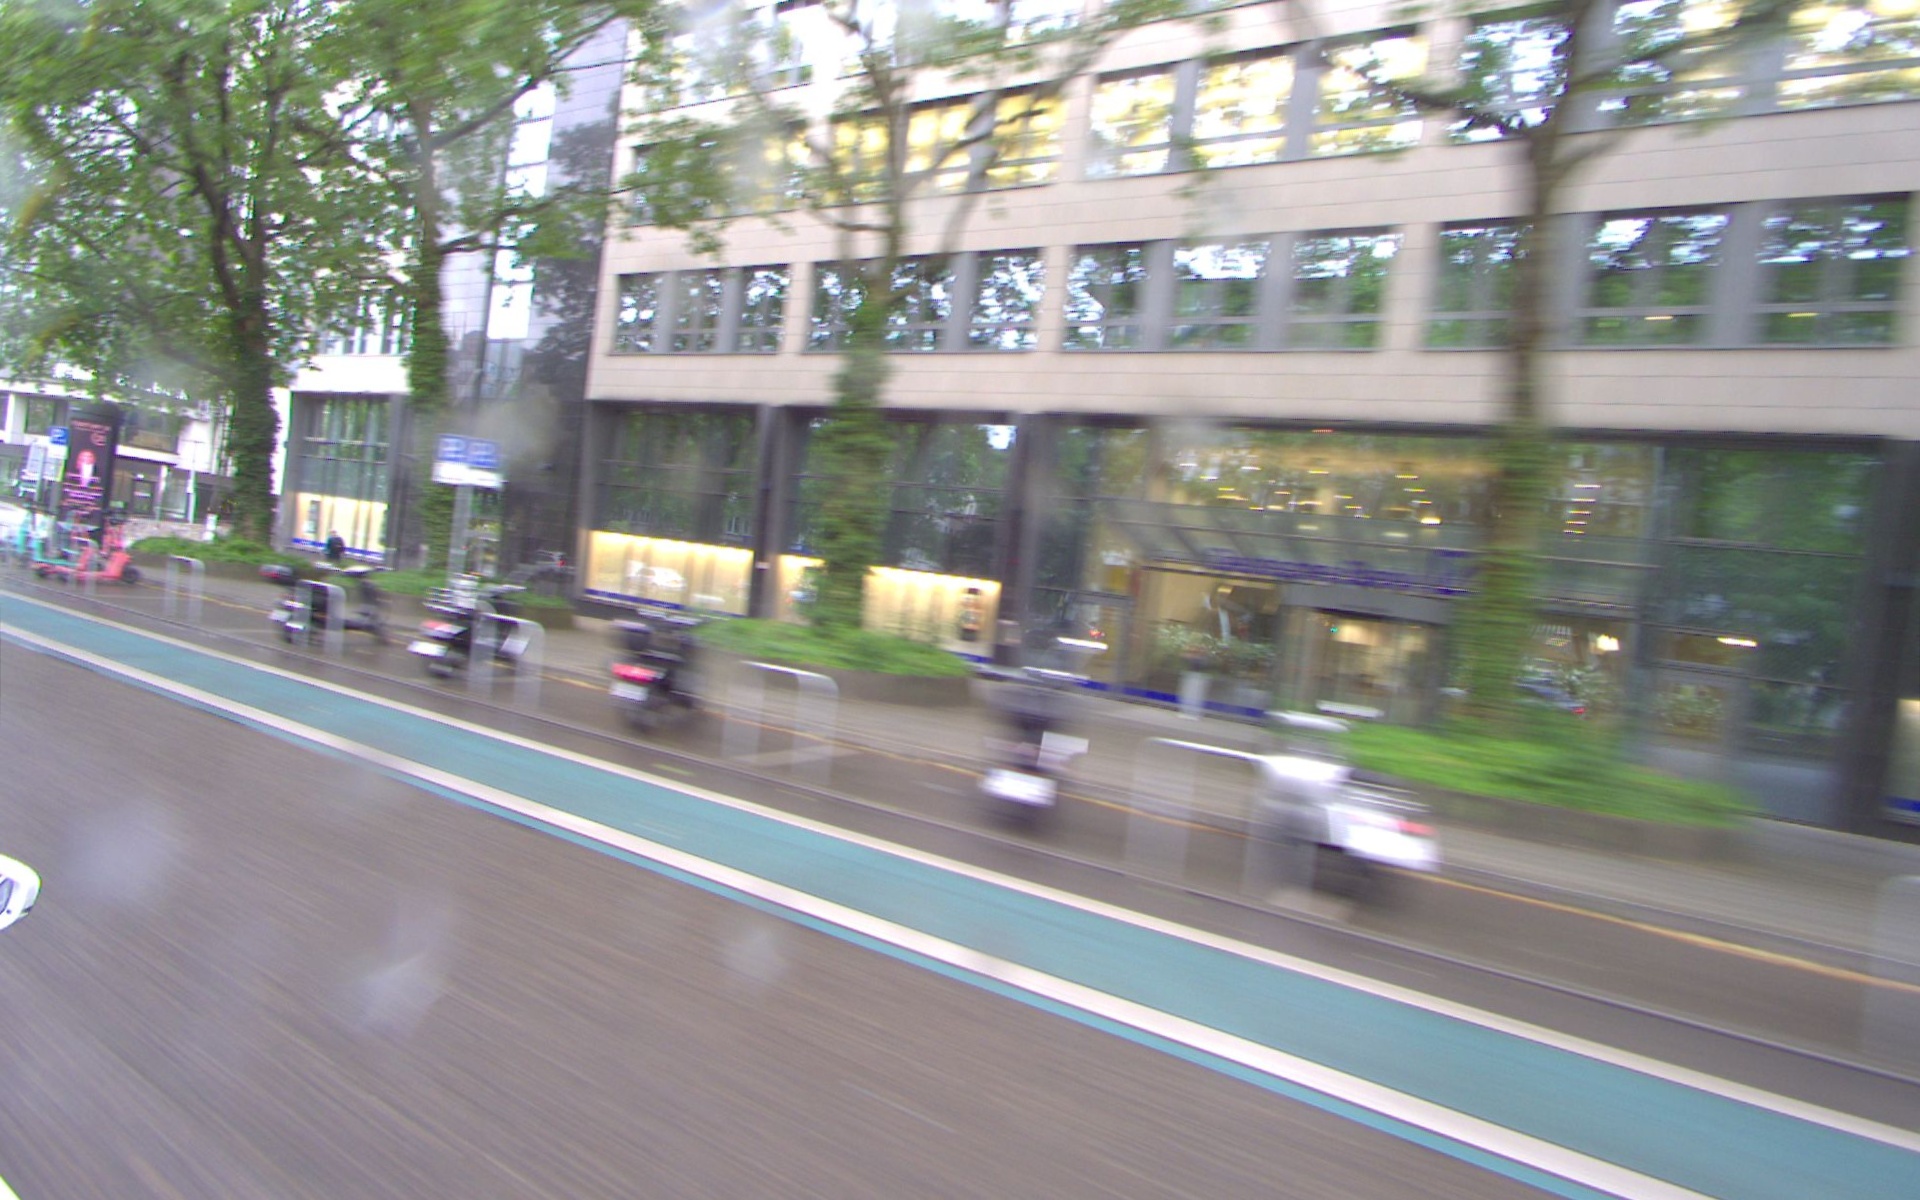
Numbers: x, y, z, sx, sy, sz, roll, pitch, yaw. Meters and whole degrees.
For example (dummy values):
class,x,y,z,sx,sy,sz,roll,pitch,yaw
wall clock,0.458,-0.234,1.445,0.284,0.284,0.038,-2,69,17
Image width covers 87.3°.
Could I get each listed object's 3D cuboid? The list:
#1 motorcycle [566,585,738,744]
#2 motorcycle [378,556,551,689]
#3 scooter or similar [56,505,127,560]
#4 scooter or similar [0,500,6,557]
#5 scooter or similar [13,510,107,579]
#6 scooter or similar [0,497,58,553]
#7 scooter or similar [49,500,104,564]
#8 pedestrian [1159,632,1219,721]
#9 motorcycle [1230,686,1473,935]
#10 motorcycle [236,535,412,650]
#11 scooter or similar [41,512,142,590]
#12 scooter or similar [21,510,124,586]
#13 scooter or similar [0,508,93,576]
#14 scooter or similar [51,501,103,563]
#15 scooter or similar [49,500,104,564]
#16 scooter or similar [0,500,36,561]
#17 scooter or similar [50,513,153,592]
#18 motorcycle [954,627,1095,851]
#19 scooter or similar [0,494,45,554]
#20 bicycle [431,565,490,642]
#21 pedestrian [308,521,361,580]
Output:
class,x,y,z,sx,sy,sz,roll,pitch,yaw
motorcycle,-3.095,0.609,10.355,0.715,1.391,1.961,8,2,10
motorcycle,-5.939,0.253,12.208,0.715,1.391,1.961,8,2,10
scooter or similar,-22.012,-1.709,25.504,1.269,1.212,0.489,7,0,0
scooter or similar,-22.365,-1.696,22.572,0.482,1.276,1.286,10,3,43
scooter or similar,-18.619,-1.133,20.823,0.481,1.252,1.290,9,2,33
scooter or similar,-22.797,-1.842,24.617,1.270,1.212,0.489,7,0,22
scooter or similar,-19.747,-1.525,22.482,1.272,1.276,0.488,9,3,32
pedestrian,4.750,1.577,20.916,0.718,1.714,0.825,7,1,-16
motorcycle,2.636,1.364,7.088,0.672,1.229,2.057,6,2,-4
motorcycle,-8.680,-0.081,13.849,0.715,1.391,1.961,8,2,15
scooter or similar,-16.447,-0.916,19.070,0.528,1.295,1.289,9,2,35
scooter or similar,-17.055,-0.984,19.359,0.527,1.295,1.293,9,2,21
scooter or similar,-19.241,-1.200,21.205,0.481,1.252,1.290,9,2,33
scooter or similar,-20.579,-1.598,23.441,1.272,1.276,0.488,9,3,32
scooter or similar,-19.747,-1.525,22.482,1.272,1.276,0.488,9,3,32
scooter or similar,-21.730,-1.612,22.619,0.482,1.276,1.286,10,3,43
scooter or similar,-16.069,-0.874,18.855,0.528,1.295,1.289,9,2,35
motorcycle,0.586,1.004,8.125,0.715,1.447,2.060,8,2,10
scooter or similar,-22.291,-1.805,23.829,1.272,1.276,0.488,9,3,32
bicycle,-7.837,0.030,15.751,0.632,1.040,1.750,7,-1,-30
pedestrian,-21.893,-1.740,35.219,1.256,1.872,0.919,6,-1,32
